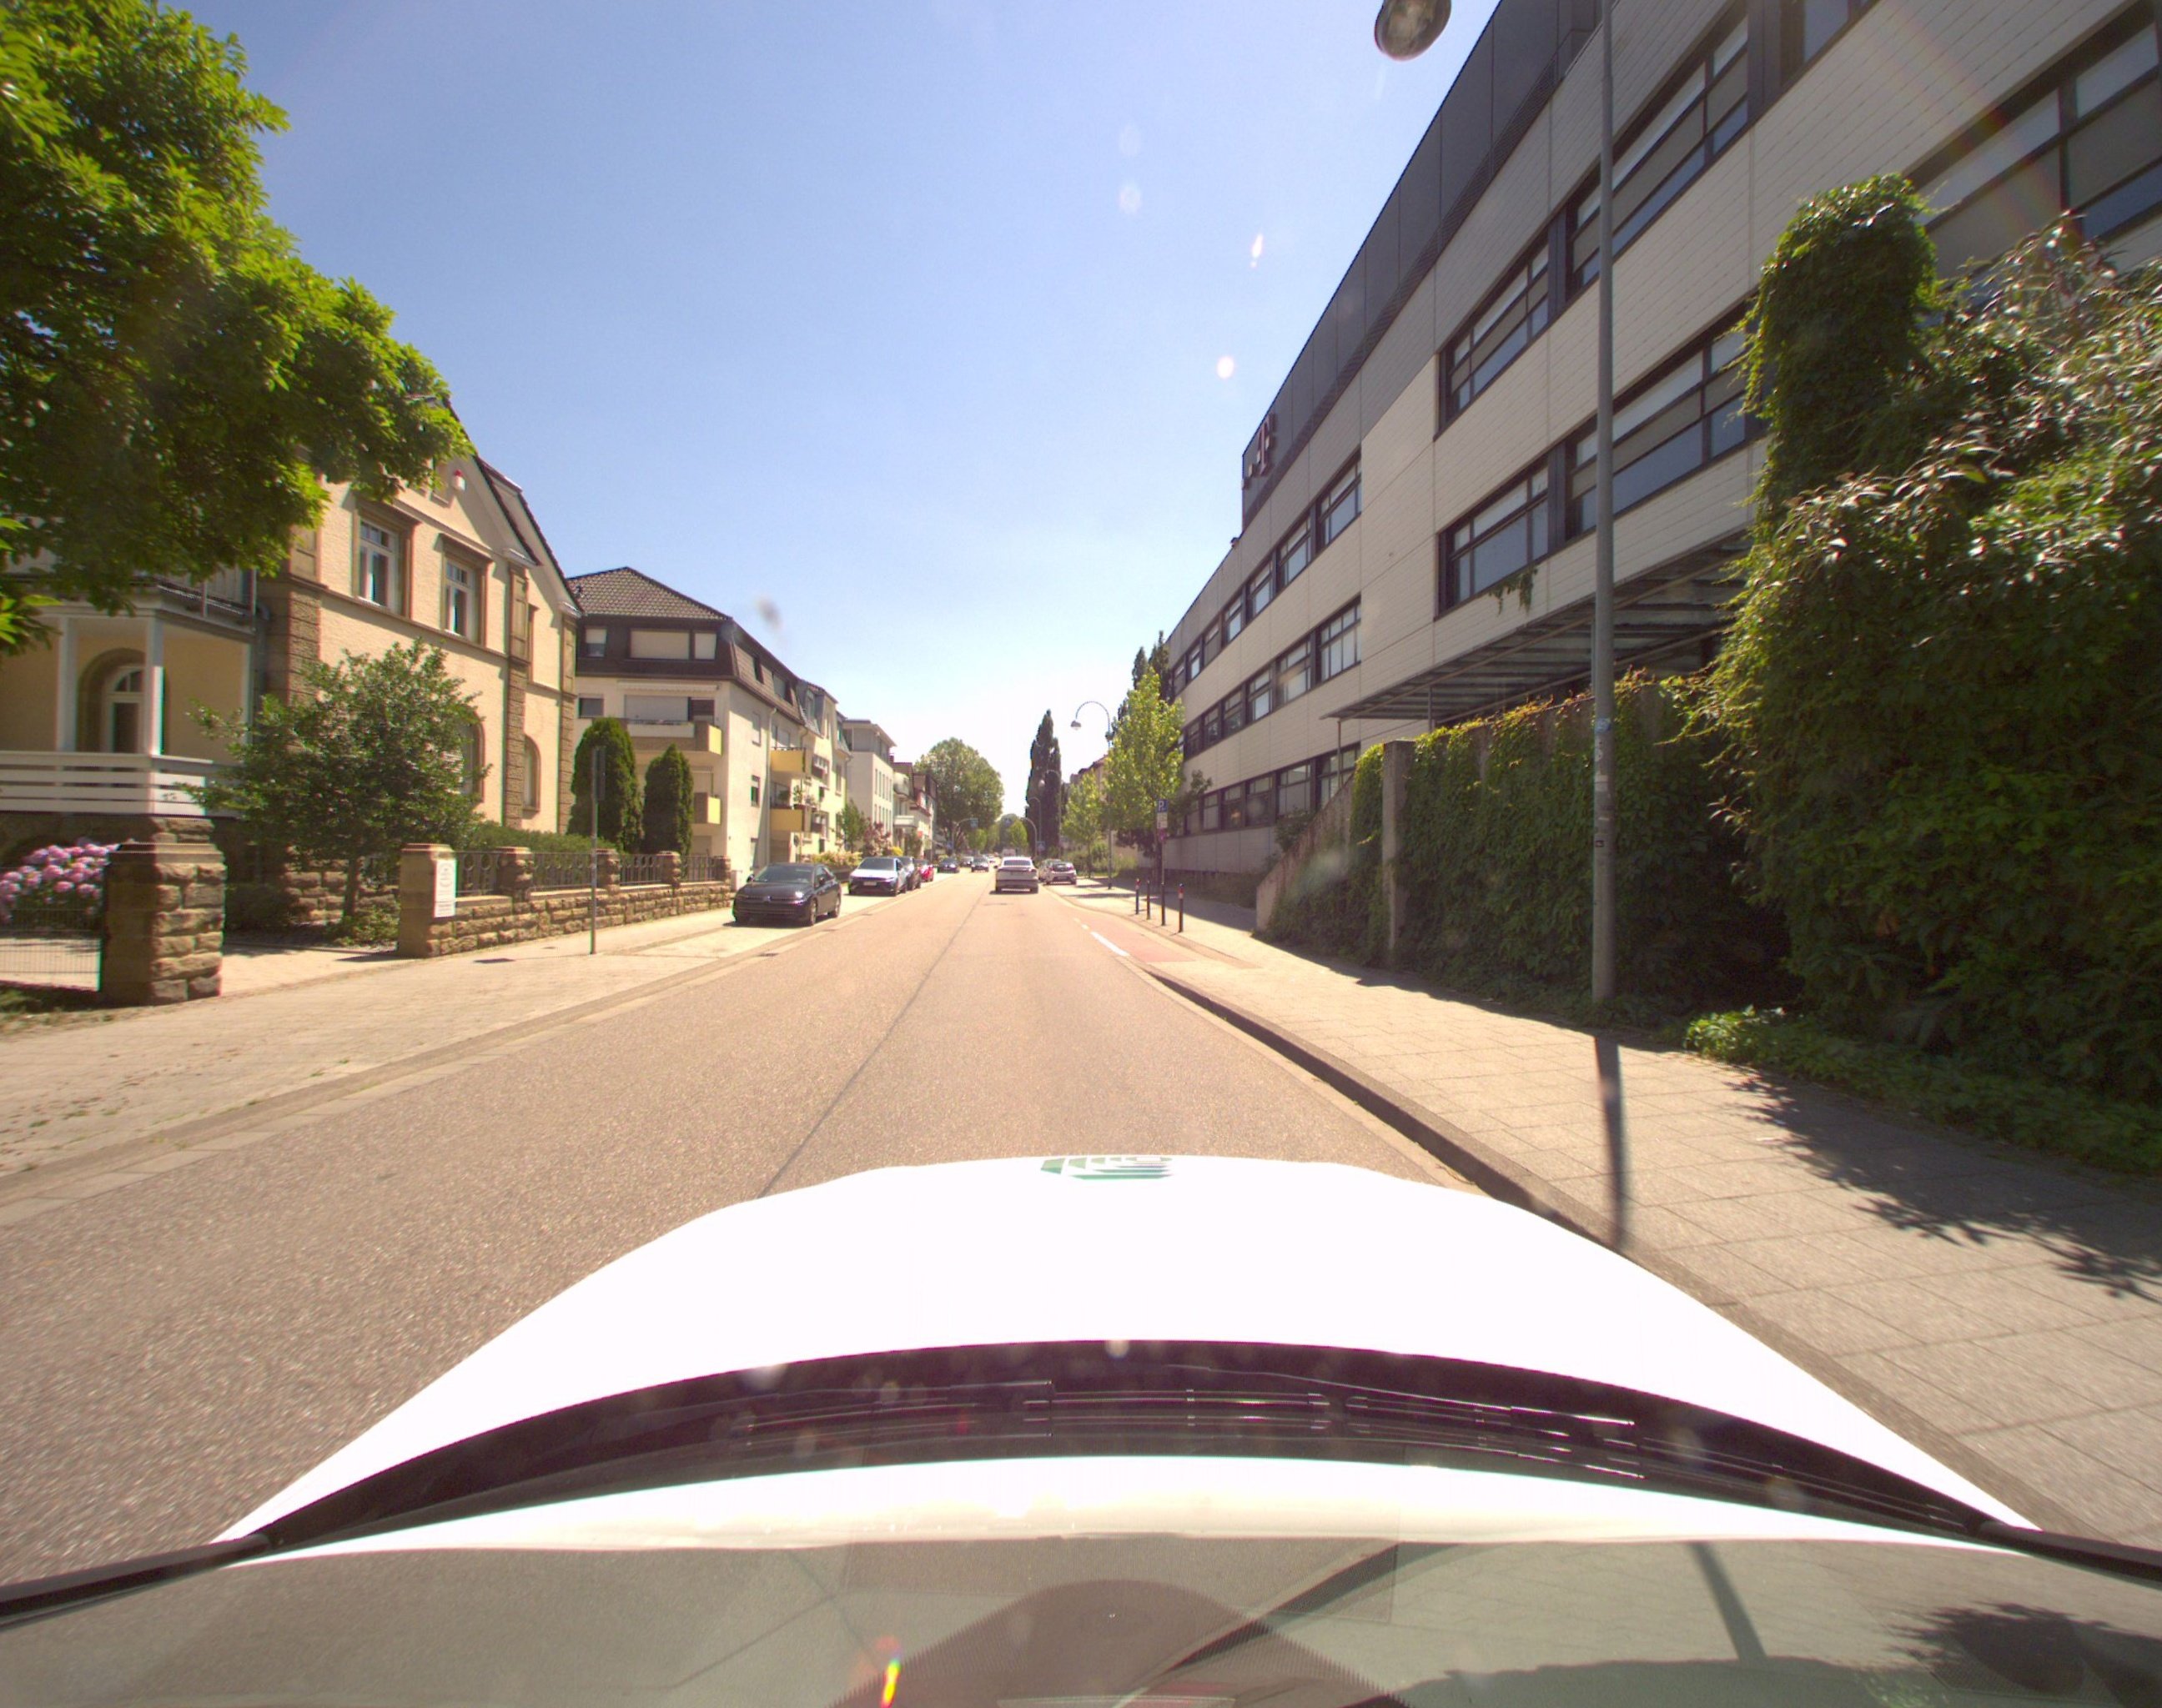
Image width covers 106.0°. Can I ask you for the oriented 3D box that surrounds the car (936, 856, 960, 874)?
[{"bbox_3d":[-12.861,1.048,78.966,1.923,1.720,4.463,0,0,-5],"label":"car"}]

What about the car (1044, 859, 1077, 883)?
[{"bbox_3d":[-1.282,1.020,49.884,1.858,1.373,3.995,0,0,-3],"label":"car"}]

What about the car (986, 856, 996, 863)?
[{"bbox_3d":[-19.158,1.191,173.316,1.976,1.520,3.991,0,0,-6],"label":"car"}]

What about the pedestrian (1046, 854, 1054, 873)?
[{"bbox_3d":[-2.938,0.898,76.579,0.637,1.758,0.615,0,0,-10],"label":"pedestrian"}]

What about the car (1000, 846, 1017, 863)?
[{"bbox_3d":[-9.592,0.044,107.158,2.068,2.197,5.125,-1,0,-7],"label":"car"}]

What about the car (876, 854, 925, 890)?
[{"bbox_3d":[-8.984,0.860,40.919,1.722,1.619,4.563,3,0,-5],"label":"car"}]

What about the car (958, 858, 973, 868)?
[{"bbox_3d":[-15.964,1.237,112.578,1.991,1.349,3.991,0,0,-6],"label":"car"}]

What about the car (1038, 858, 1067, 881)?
[{"bbox_3d":[-1.968,1.012,55.639,1.656,1.488,4.336,-1,0,-6],"label":"car"}]

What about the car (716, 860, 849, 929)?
[{"bbox_3d":[-7.319,0.916,20.533,1.923,1.436,4.650,3,0,-5],"label":"car"}]

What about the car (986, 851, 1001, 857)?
[{"bbox_3d":[-25.328,0.037,236.627,3.972,1.651,2.001,0,0,1],"label":"car"}]

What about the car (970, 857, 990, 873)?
[{"bbox_3d":[-10.674,1.134,86.159,1.972,1.670,4.461,0,0,-7],"label":"car"}]

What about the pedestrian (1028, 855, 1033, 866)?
[{"bbox_3d":[-8.183,1.021,132.544,0.694,1.736,0.666,0,-1,-10],"label":"pedestrian"}]

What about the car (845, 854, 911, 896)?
[{"bbox_3d":[-8.591,0.854,34.878,1.923,1.573,4.650,3,0,-5],"label":"car"}]

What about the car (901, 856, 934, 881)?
[{"bbox_3d":[-10.399,0.903,52.090,1.647,1.419,3.897,3,0,-6],"label":"car"}]

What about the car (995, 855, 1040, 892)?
[{"bbox_3d":[-2.961,0.837,37.672,1.933,1.614,4.463,0,0,-5],"label":"car"}]
